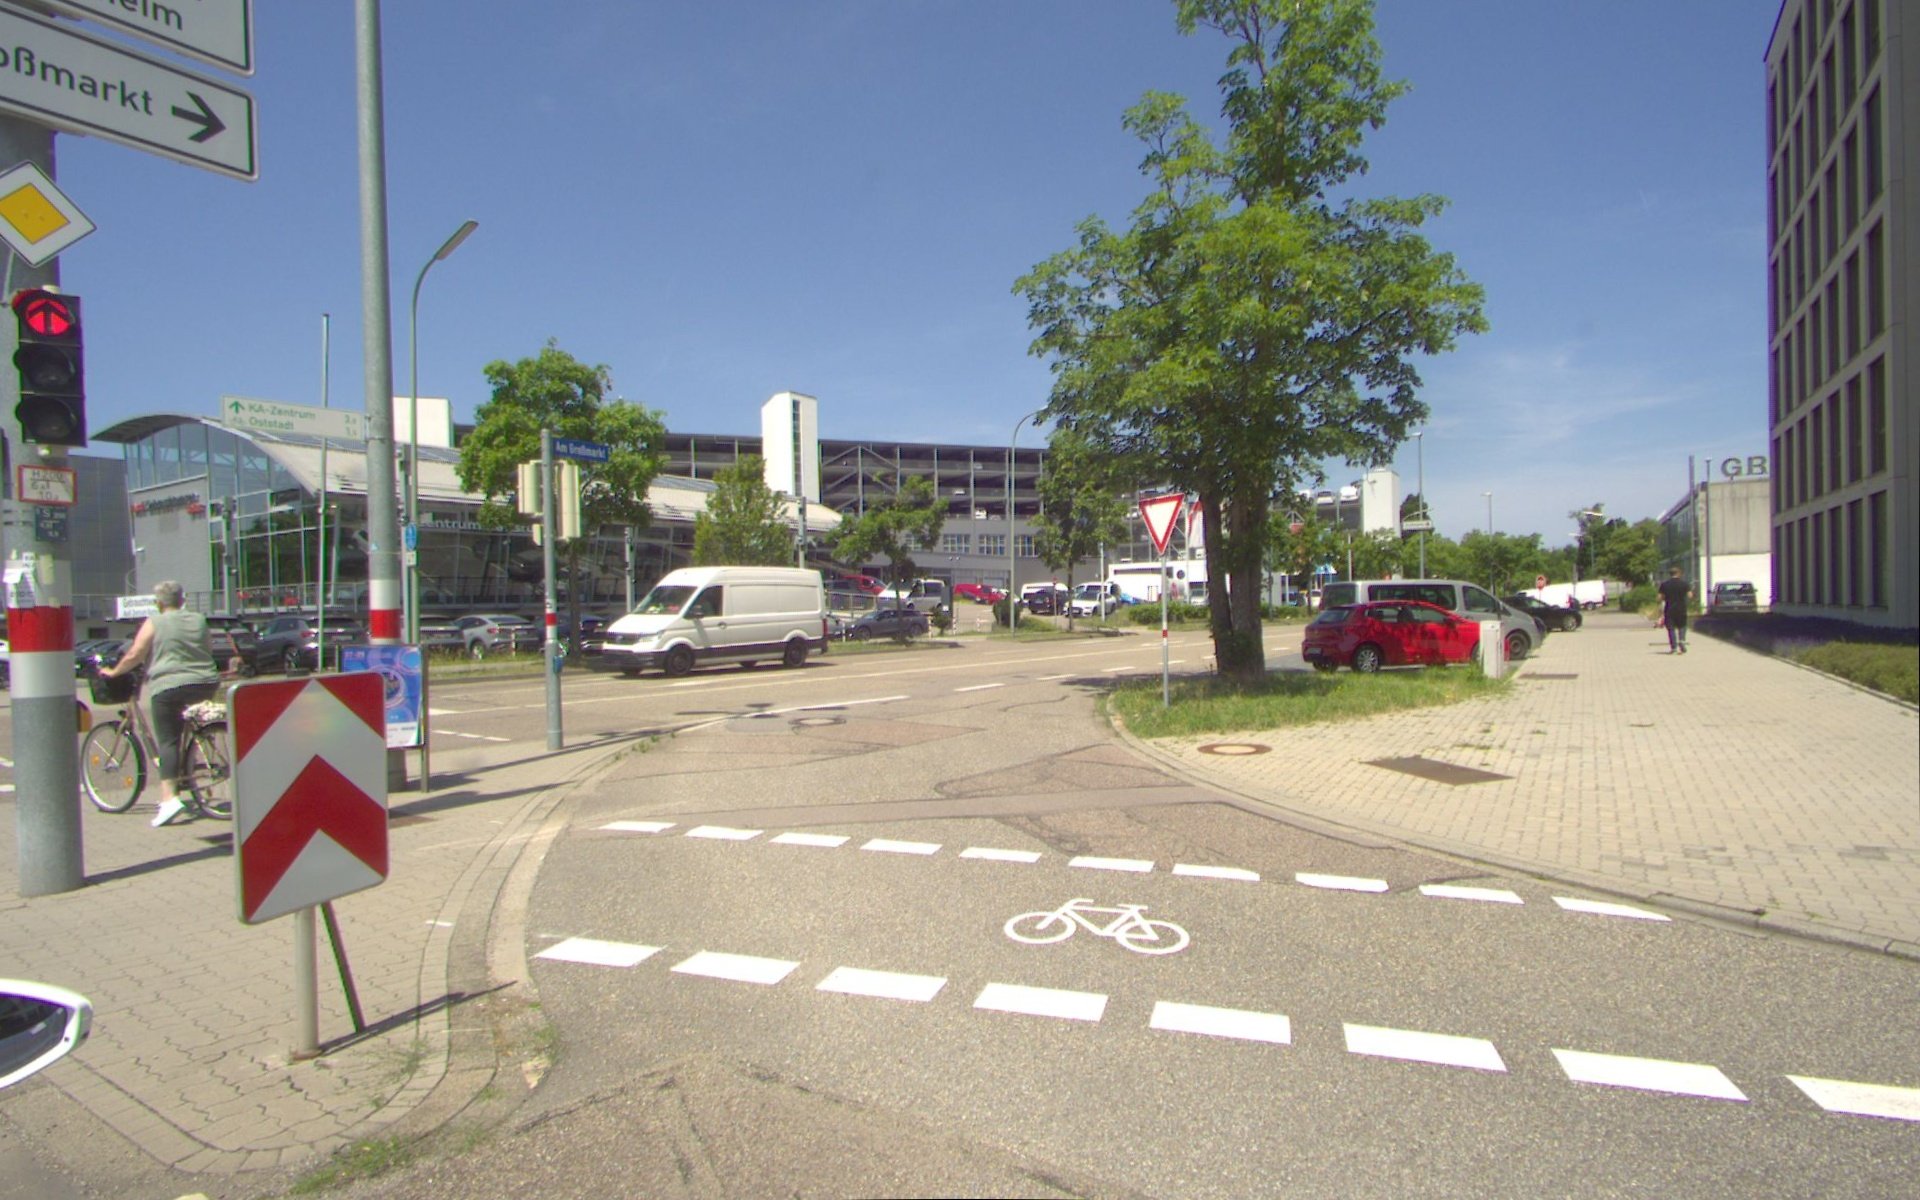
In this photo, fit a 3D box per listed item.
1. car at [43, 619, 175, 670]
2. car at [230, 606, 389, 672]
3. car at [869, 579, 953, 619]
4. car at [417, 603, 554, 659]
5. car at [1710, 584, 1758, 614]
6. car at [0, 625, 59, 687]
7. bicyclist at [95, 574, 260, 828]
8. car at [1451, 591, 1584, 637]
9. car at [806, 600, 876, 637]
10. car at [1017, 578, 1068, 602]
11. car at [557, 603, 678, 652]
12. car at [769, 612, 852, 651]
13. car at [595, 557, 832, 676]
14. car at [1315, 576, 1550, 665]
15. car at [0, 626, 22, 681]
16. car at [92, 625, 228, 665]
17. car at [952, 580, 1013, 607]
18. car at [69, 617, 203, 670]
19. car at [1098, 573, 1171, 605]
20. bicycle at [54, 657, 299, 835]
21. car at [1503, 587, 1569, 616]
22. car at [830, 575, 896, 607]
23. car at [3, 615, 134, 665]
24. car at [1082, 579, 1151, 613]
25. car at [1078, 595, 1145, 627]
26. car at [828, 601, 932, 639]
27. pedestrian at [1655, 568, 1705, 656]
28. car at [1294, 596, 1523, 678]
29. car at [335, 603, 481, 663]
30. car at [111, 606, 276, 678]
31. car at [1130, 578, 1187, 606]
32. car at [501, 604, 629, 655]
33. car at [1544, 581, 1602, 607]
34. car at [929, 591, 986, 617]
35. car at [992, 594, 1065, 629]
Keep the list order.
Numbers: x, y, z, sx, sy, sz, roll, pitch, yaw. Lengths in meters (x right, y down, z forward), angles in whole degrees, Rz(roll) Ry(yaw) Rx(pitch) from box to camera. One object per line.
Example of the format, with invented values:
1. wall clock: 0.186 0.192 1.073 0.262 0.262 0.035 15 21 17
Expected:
1. car: -37.280 1.904 43.949 1.972 2.040 3.977 -1 0 33
2. car: -17.919 1.022 27.541 4.492 1.661 1.989 -1 0 32
3. car: -2.581 -0.067 54.098 1.972 2.040 5.117 -1 0 32
4. car: -15.257 0.959 32.135 4.460 1.662 1.881 -1 1 32
5. car: 42.233 -0.043 54.710 1.765 1.542 3.556 -2 0 33
6. car: -25.122 1.402 24.139 1.973 1.476 4.729 0 0 34
7. bicyclist: -5.841 0.716 7.489 0.742 1.772 0.733 0 0 28
8. car: 21.568 0.560 38.874 4.075 1.558 1.815 -3 -1 2
9. car: -6.924 1.059 58.521 1.839 2.040 3.733 -1 0 41
10. car: 7.592 -0.929 91.961 4.257 2.040 1.989 -1 0 32
11. car: -12.454 0.980 36.364 4.410 1.661 1.824 -1 -1 32
12. car: -7.407 1.518 49.554 3.659 1.801 1.739 -1 0 -31
13. car: -5.867 0.380 24.640 2.074 2.567 5.766 0 0 35
14. car: 10.911 0.441 23.214 4.814 1.839 1.704 -2 0 -10
15. car: -27.438 1.468 25.588 1.973 1.476 4.729 -2 -1 34
16. car: -32.929 1.797 41.317 1.694 1.480 4.083 0 0 33
17. car: 1.730 -0.491 77.968 4.286 2.040 1.990 -1 0 30
18. car: -34.903 1.815 42.515 1.972 2.040 3.977 -1 0 33
19. car: 12.000 -0.753 68.889 4.578 2.040 1.989 -1 0 32
20. bicycle: -5.940 1.034 7.576 1.891 1.142 0.786 0 0 29
21. car: 41.666 0.135 72.488 3.949 2.040 1.986 -1 0 37
22. car: -6.556 -0.586 67.475 3.937 2.040 1.992 -1 0 27
23. car: -39.713 1.761 44.705 1.972 2.040 3.977 -1 0 33
24. car: 9.929 -0.244 63.537 3.943 2.040 1.840 -1 0 32
25. car: 10.109 0.760 66.842 3.943 2.040 1.989 -1 0 32
26. car: -3.771 0.936 47.734 4.702 1.662 1.821 -1 1 -35
27. pedestrian: 15.741 0.259 21.886 0.764 1.869 0.861 -2 0 40
28. car: 8.962 0.703 20.124 3.924 1.454 1.609 -2 0 -8
29. car: -16.614 0.960 30.088 4.377 1.661 1.989 -1 1 32
30. car: -19.419 1.007 25.332 4.207 1.661 1.989 -1 0 32
31. car: 15.512 -0.626 78.265 3.945 2.040 1.988 -1 0 34
32. car: -13.617 0.983 34.461 4.410 1.662 1.823 -1 1 32
33. car: 55.198 -0.530 90.146 4.304 2.149 2.080 -1 0 36
34. car: -0.212 0.308 74.300 3.943 1.810 1.730 -1 0 32
35. car: 4.148 0.718 60.720 3.943 2.040 1.989 -1 0 32
